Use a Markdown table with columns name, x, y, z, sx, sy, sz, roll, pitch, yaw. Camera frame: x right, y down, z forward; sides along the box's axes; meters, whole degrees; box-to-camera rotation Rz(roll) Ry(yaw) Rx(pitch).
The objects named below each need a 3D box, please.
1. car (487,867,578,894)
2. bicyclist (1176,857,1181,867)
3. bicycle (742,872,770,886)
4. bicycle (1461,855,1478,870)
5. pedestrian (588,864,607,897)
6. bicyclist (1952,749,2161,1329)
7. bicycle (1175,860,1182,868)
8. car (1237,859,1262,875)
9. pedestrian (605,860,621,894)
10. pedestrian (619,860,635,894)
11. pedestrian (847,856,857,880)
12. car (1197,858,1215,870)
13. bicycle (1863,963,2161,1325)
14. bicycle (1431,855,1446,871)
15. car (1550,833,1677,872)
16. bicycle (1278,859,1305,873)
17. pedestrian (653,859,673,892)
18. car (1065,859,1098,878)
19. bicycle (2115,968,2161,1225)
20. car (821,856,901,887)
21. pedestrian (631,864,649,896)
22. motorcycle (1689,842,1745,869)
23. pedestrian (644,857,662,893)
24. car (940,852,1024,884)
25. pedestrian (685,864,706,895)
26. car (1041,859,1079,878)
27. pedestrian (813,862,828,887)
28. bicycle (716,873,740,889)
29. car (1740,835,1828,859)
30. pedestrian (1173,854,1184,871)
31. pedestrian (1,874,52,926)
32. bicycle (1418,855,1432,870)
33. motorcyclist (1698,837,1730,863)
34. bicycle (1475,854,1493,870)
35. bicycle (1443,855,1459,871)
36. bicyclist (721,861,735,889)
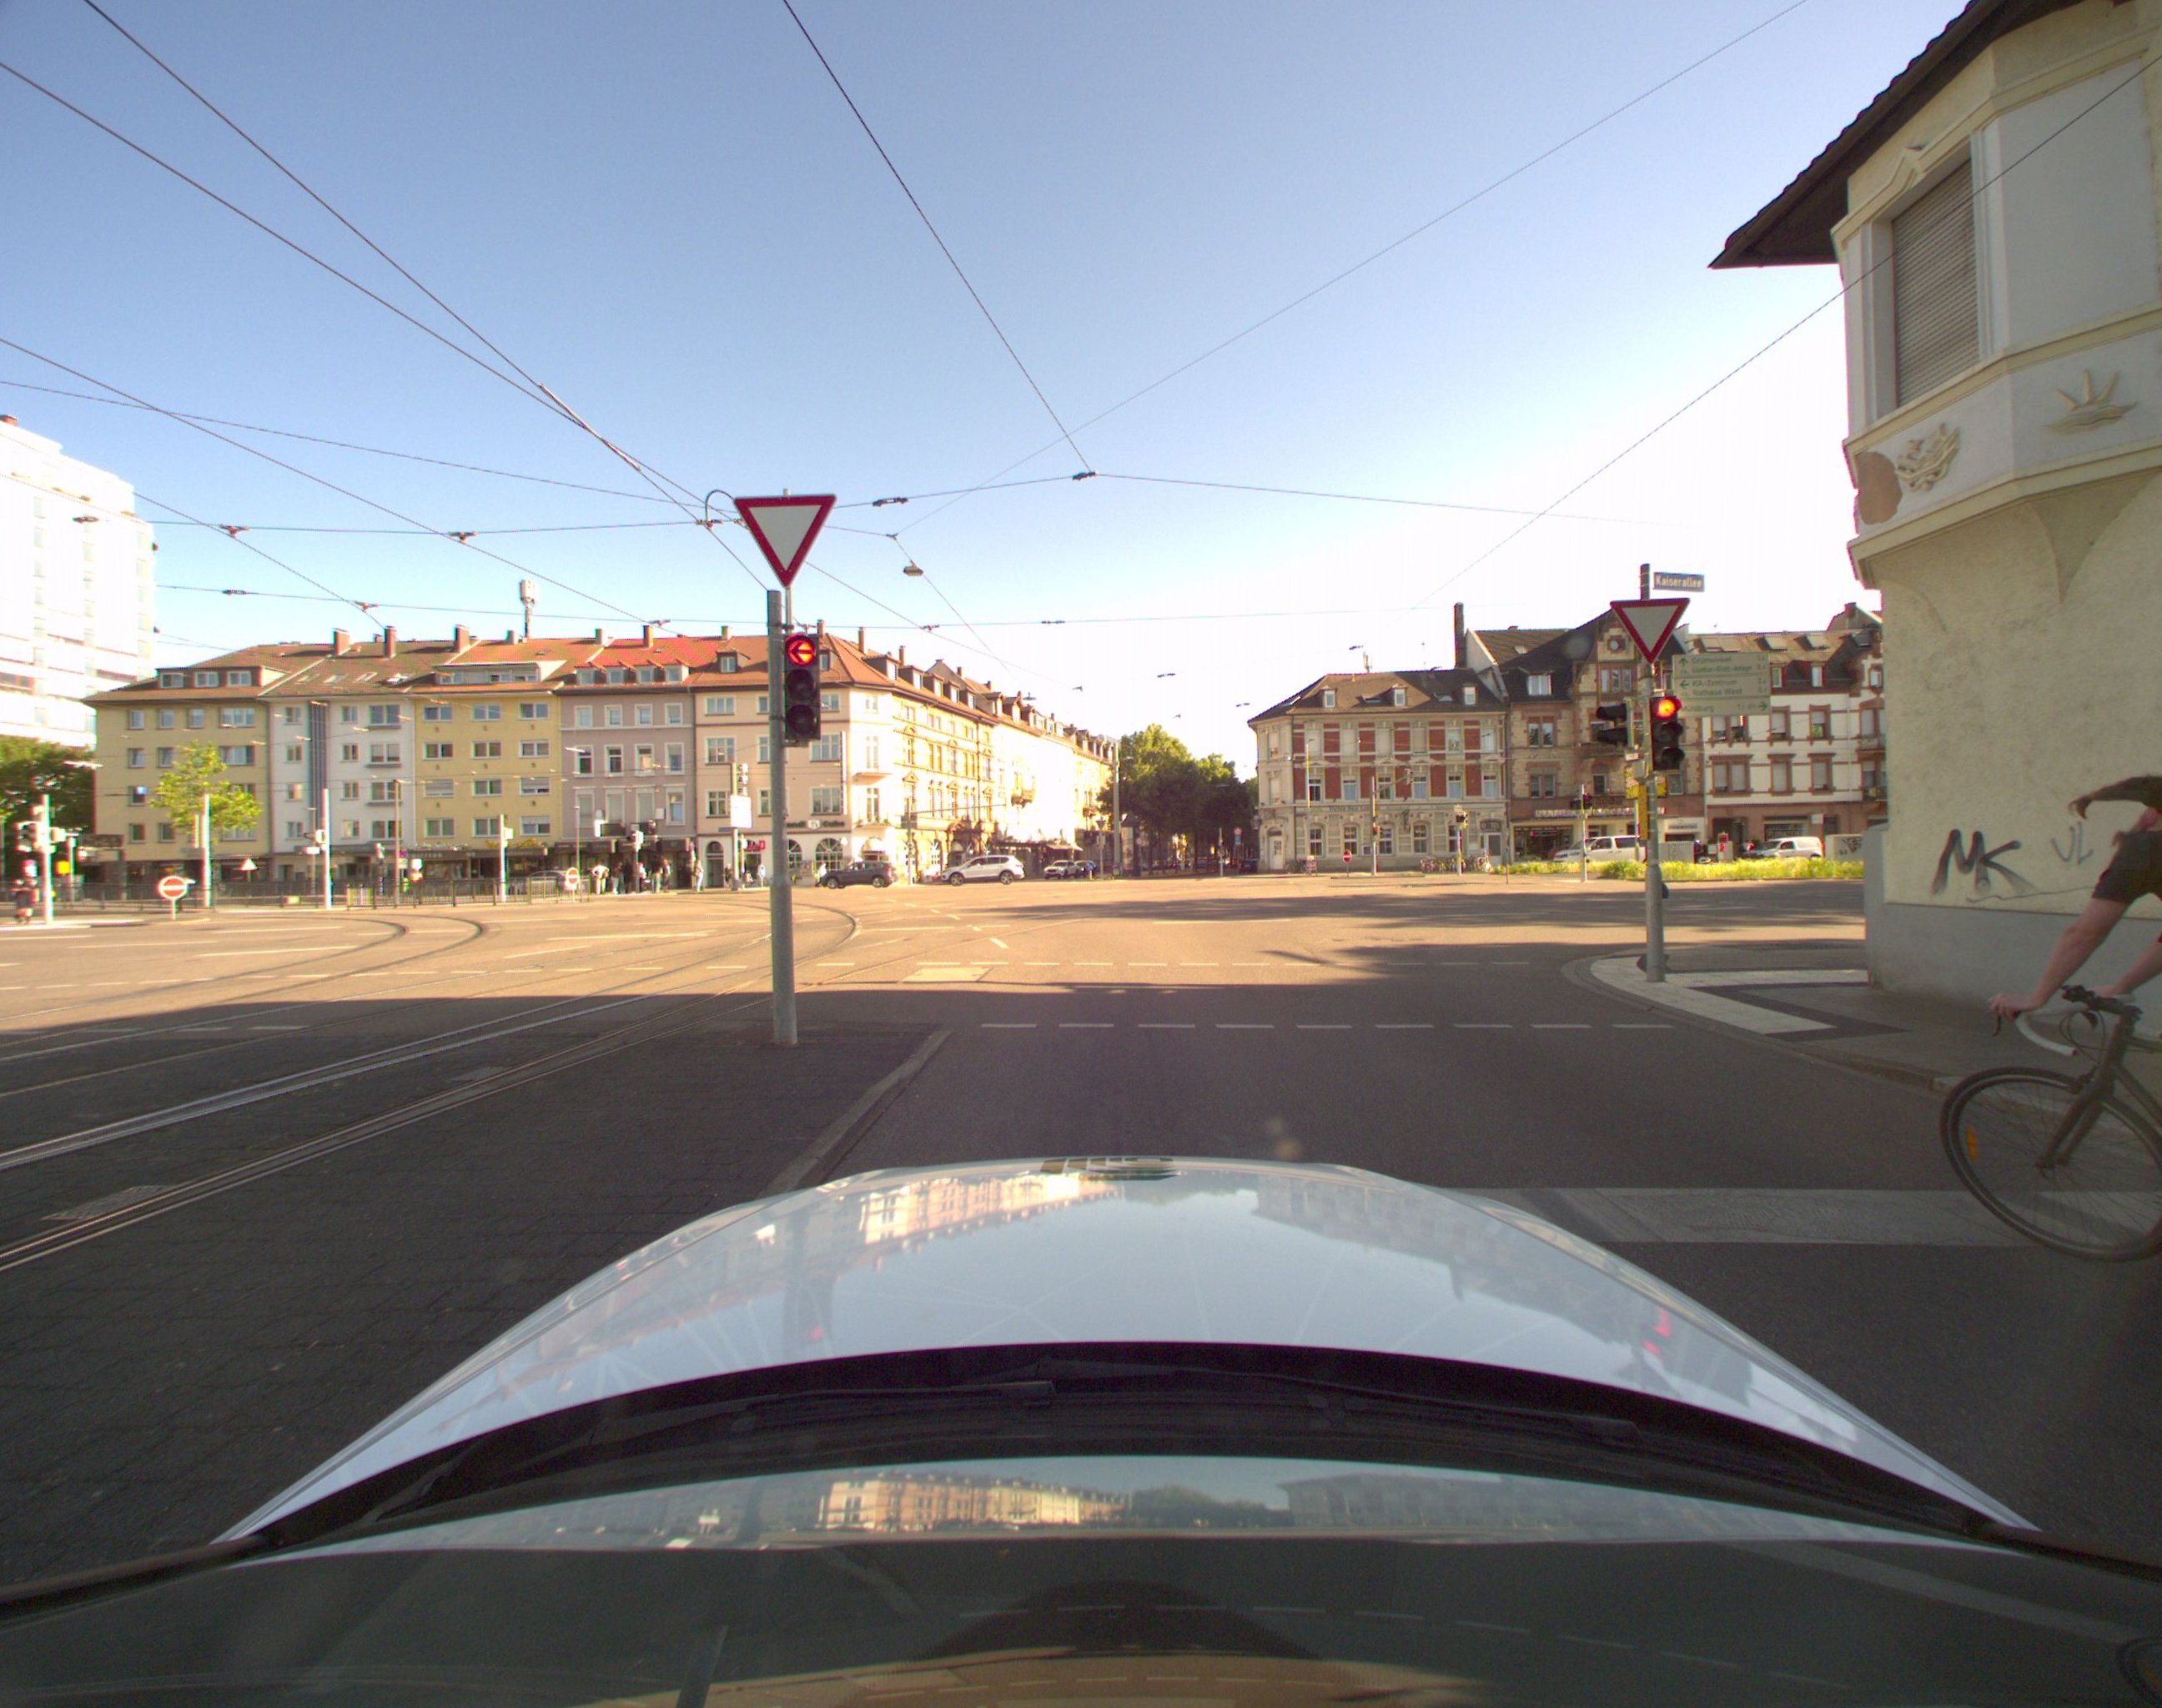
| name | x | y | z | sx | sy | sz | roll | pitch | yaw |
| --- | --- | --- | --- | --- | --- | --- | --- | --- | --- |
| car | -29.973 | 1.440 | 44.553 | 3.777 | 1.403 | 1.699 | 0 | -1 | -1 |
| bicyclist | 15.297 | 1.198 | 128.151 | 0.668 | 1.568 | 0.751 | -1 | -1 | 20 |
| bicycle | -22.984 | 1.752 | 57.592 | 1.694 | 0.983 | 0.611 | 0 | -1 | 1 |
| bicycle | 25.191 | 0.548 | 52.855 | 0.758 | 1.007 | 2.231 | -1 | -1 | 20 |
| pedestrian | -24.975 | 1.367 | 42.056 | 0.582 | 1.648 | 0.616 | 0 | -1 | 1 |
| bicyclist | 3.581 | 0.563 | 2.597 | 0.587 | 1.767 | 0.936 | 0 | -1 | 2 |
| bicycle | 15.299 | 1.572 | 128.142 | 0.668 | 1.207 | 1.831 | -1 | -1 | 20 |
| car | 17.082 | 1.261 | 82.242 | 1.741 | 1.556 | 4.021 | -1 | -1 | 22 |
| pedestrian | -23.235 | 1.139 | 40.429 | 0.520 | 1.648 | 0.498 | 0 | -1 | 1 |
| pedestrian | -22.569 | 1.135 | 40.476 | 0.520 | 1.648 | 0.498 | 0 | -1 | 1 |
| pedestrian | -16.030 | 0.970 | 57.060 | 0.500 | 1.676 | 0.583 | 0 | -1 | -35 |
| car | 17.889 | 1.358 | 116.355 | 1.978 | 1.684 | 4.018 | -1 | -1 | 17 |
| bicycle | 3.586 | 0.960 | 2.611 | 0.480 | 0.991 | 1.783 | 0 | -1 | 2 |
| bicycle | 23.263 | 0.576 | 53.076 | 0.758 | 0.968 | 2.221 | -1 | -1 | 20 |
| car | 27.263 | -0.074 | 41.807 | 5.177 | 1.854 | 2.002 | -1 | 0 | 3 |
| bicycle | 14.712 | 0.833 | 56.904 | 1.789 | 0.963 | 0.606 | -1 | -1 | 16 |
| pedestrian | -21.566 | 1.110 | 42.038 | 0.580 | 1.648 | 0.840 | 0 | -1 | 1 |
| car | 0.075 | 1.259 | 73.762 | 1.809 | 1.685 | 3.893 | -1 | -1 | 18 |
| bicycle | 4.456 | 0.952 | 2.432 | 0.501 | 0.983 | 1.783 | 0 | -1 | 2 |
| car | -12.991 | 1.054 | 48.342 | 4.213 | 1.773 | 1.818 | 0 | -1 | 1 |
| pedestrian | -22.901 | 1.334 | 42.296 | 0.571 | 1.648 | 0.727 | 0 | -1 | 1 |
| motorcycle | 32.377 | 0.089 | 41.488 | 2.124 | 1.333 | 0.798 | 0 | -1 | 6 |
| pedestrian | -21.533 | 1.048 | 40.987 | 0.525 | 1.823 | 0.677 | 0 | -1 | 1 |
| car | -5.580 | 0.791 | 46.186 | 4.669 | 1.734 | 1.832 | 0 | -1 | -7 |
| pedestrian | -19.881 | 1.314 | 41.979 | 0.666 | 1.594 | 0.815 | 0 | -1 | 1 |
| car | -1.676 | 1.180 | 67.465 | 1.788 | 1.585 | 4.179 | -1 | -1 | 19 |
| pedestrian | -17.463 | 1.360 | 54.596 | 0.562 | 1.642 | 0.797 | -1 | -1 | 25 |
| bicycle | -22.987 | 1.750 | 52.998 | 0.618 | 1.030 | 1.758 | 0 | -1 | 7 |
| car | 45.199 | -0.431 | 52.415 | 3.961 | 1.438 | 1.874 | 0 | -1 | 5 |
| pedestrian | 12.048 | 1.060 | 100.670 | 0.967 | 2.014 | 0.910 | 0 | -1 | -30 |
| pedestrian | -33.015 | 1.424 | 25.498 | 0.607 | 1.609 | 0.768 | -1 | -1 | 11 |
| bicycle | 22.508 | 0.583 | 53.343 | 0.758 | 0.963 | 2.221 | -1 | -1 | 20 |
| motorcyclist | 32.235 | -0.216 | 41.508 | 1.009 | 1.300 | 0.790 | 0 | -1 | 6 |
| bicycle | 26.059 | 0.539 | 52.679 | 0.785 | 1.016 | 2.221 | -1 | -1 | 20 |
| bicycle | 24.050 | 0.569 | 52.952 | 0.758 | 0.983 | 2.221 | -1 | -1 | 20 |
| bicyclist | -22.983 | 1.356 | 53.016 | 0.618 | 1.790 | 0.616 | 0 | -1 | 7 |
